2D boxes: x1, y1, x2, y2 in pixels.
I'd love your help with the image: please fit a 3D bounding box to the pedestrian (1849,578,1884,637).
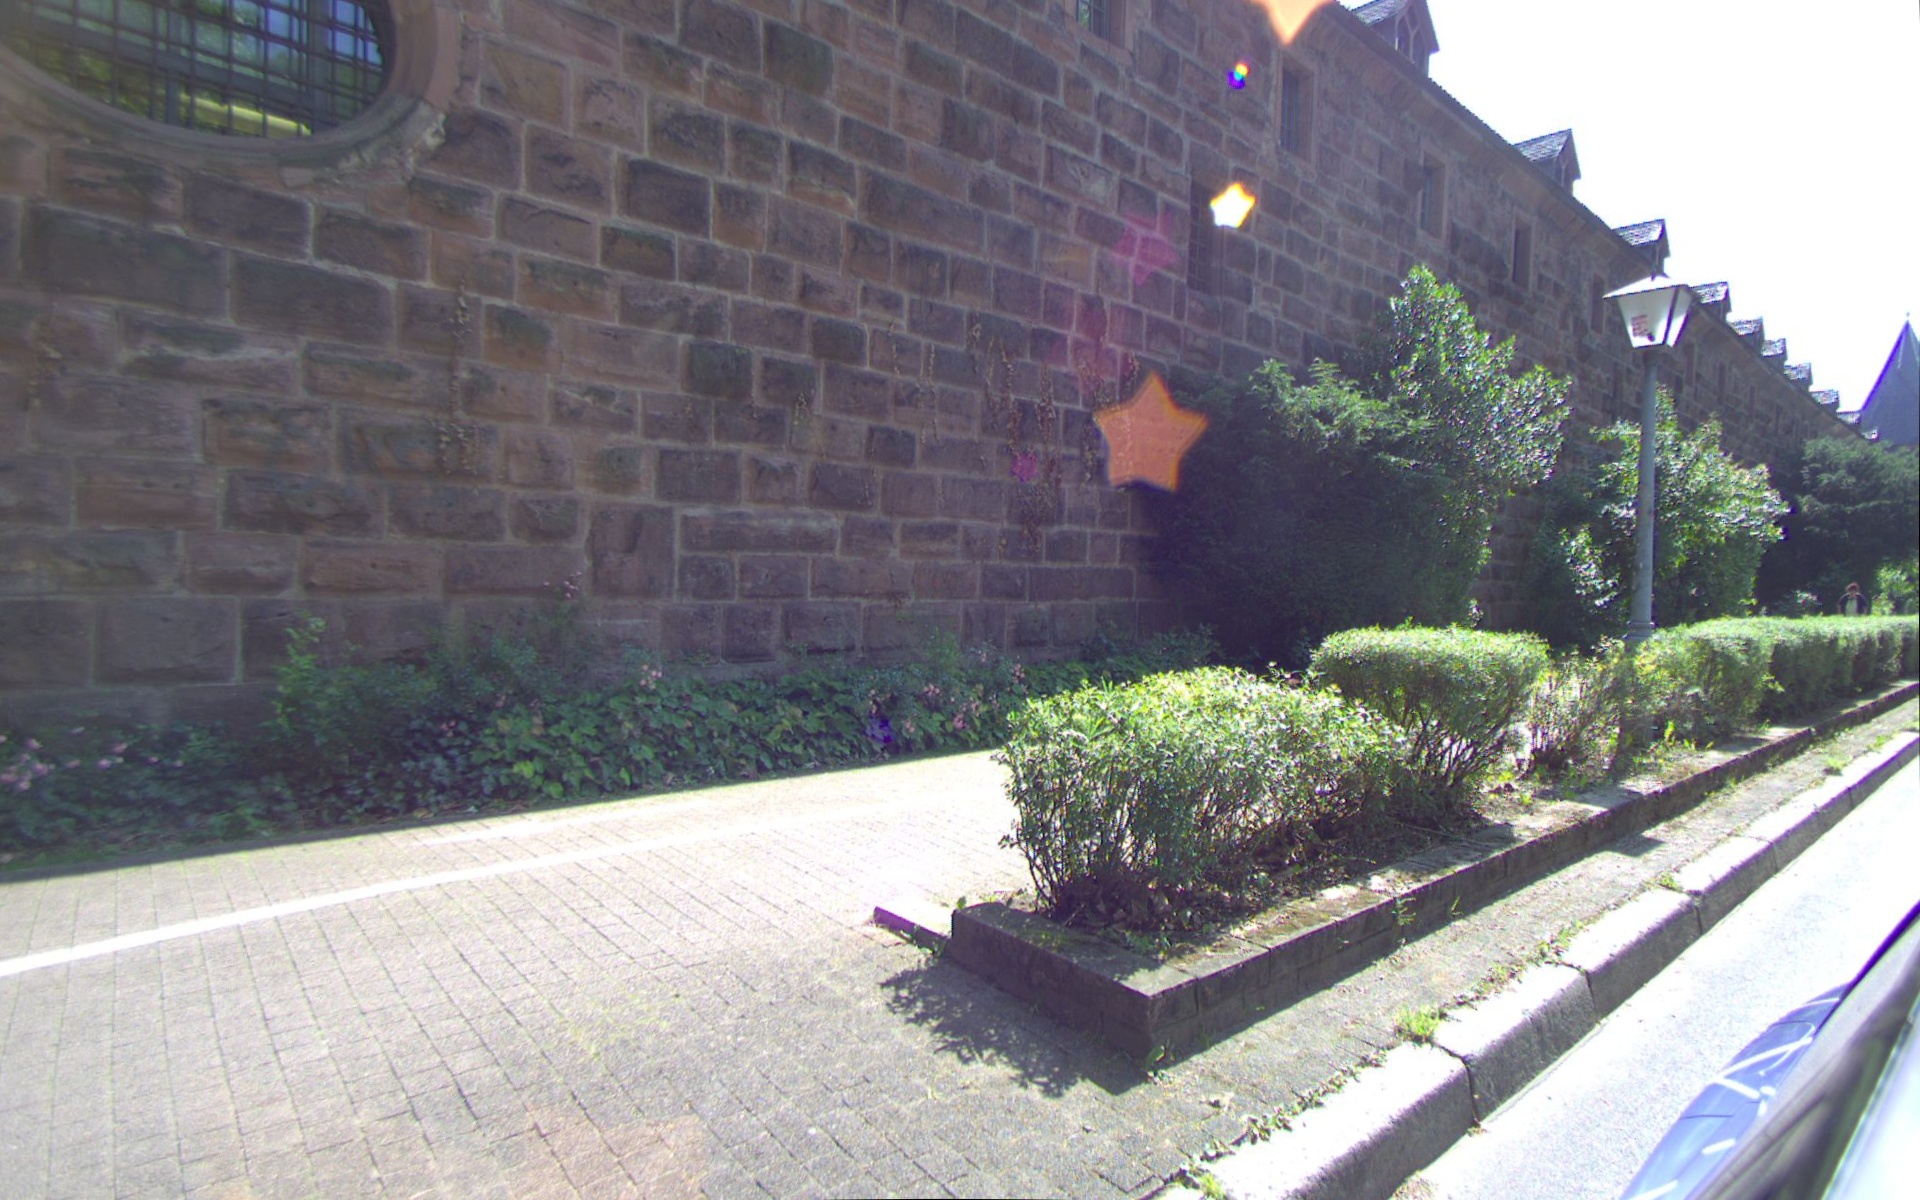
[{"bbox_3d":[24.635,0.187,27.506,0.554,1.583,0.642,0,0,-41],"label":"pedestrian"}]
